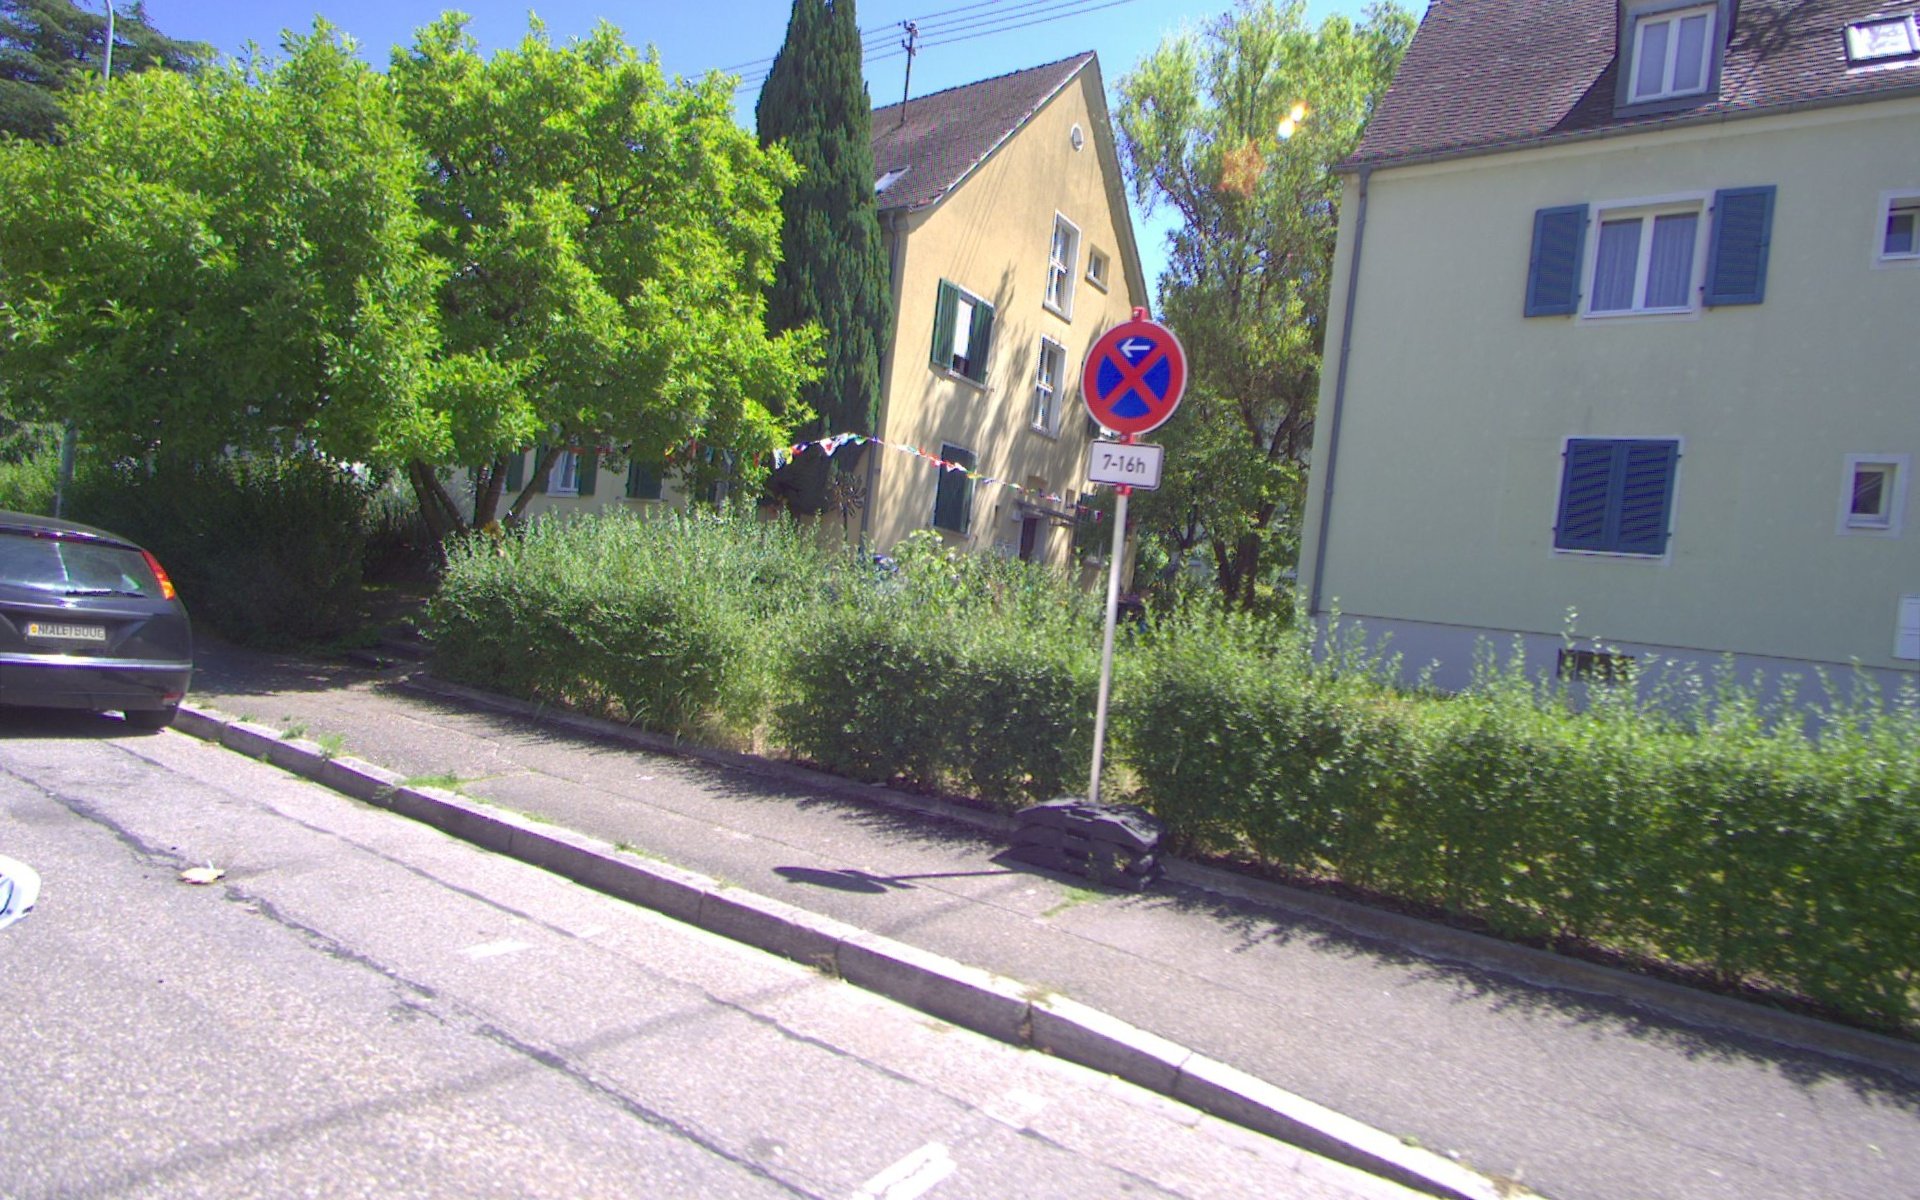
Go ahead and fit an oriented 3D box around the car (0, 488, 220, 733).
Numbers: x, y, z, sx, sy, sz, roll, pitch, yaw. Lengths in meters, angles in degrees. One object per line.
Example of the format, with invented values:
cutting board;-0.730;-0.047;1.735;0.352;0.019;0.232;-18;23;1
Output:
car;-7.388;-0.060;7.431;3.950;1.479;1.632;5;-3;32
